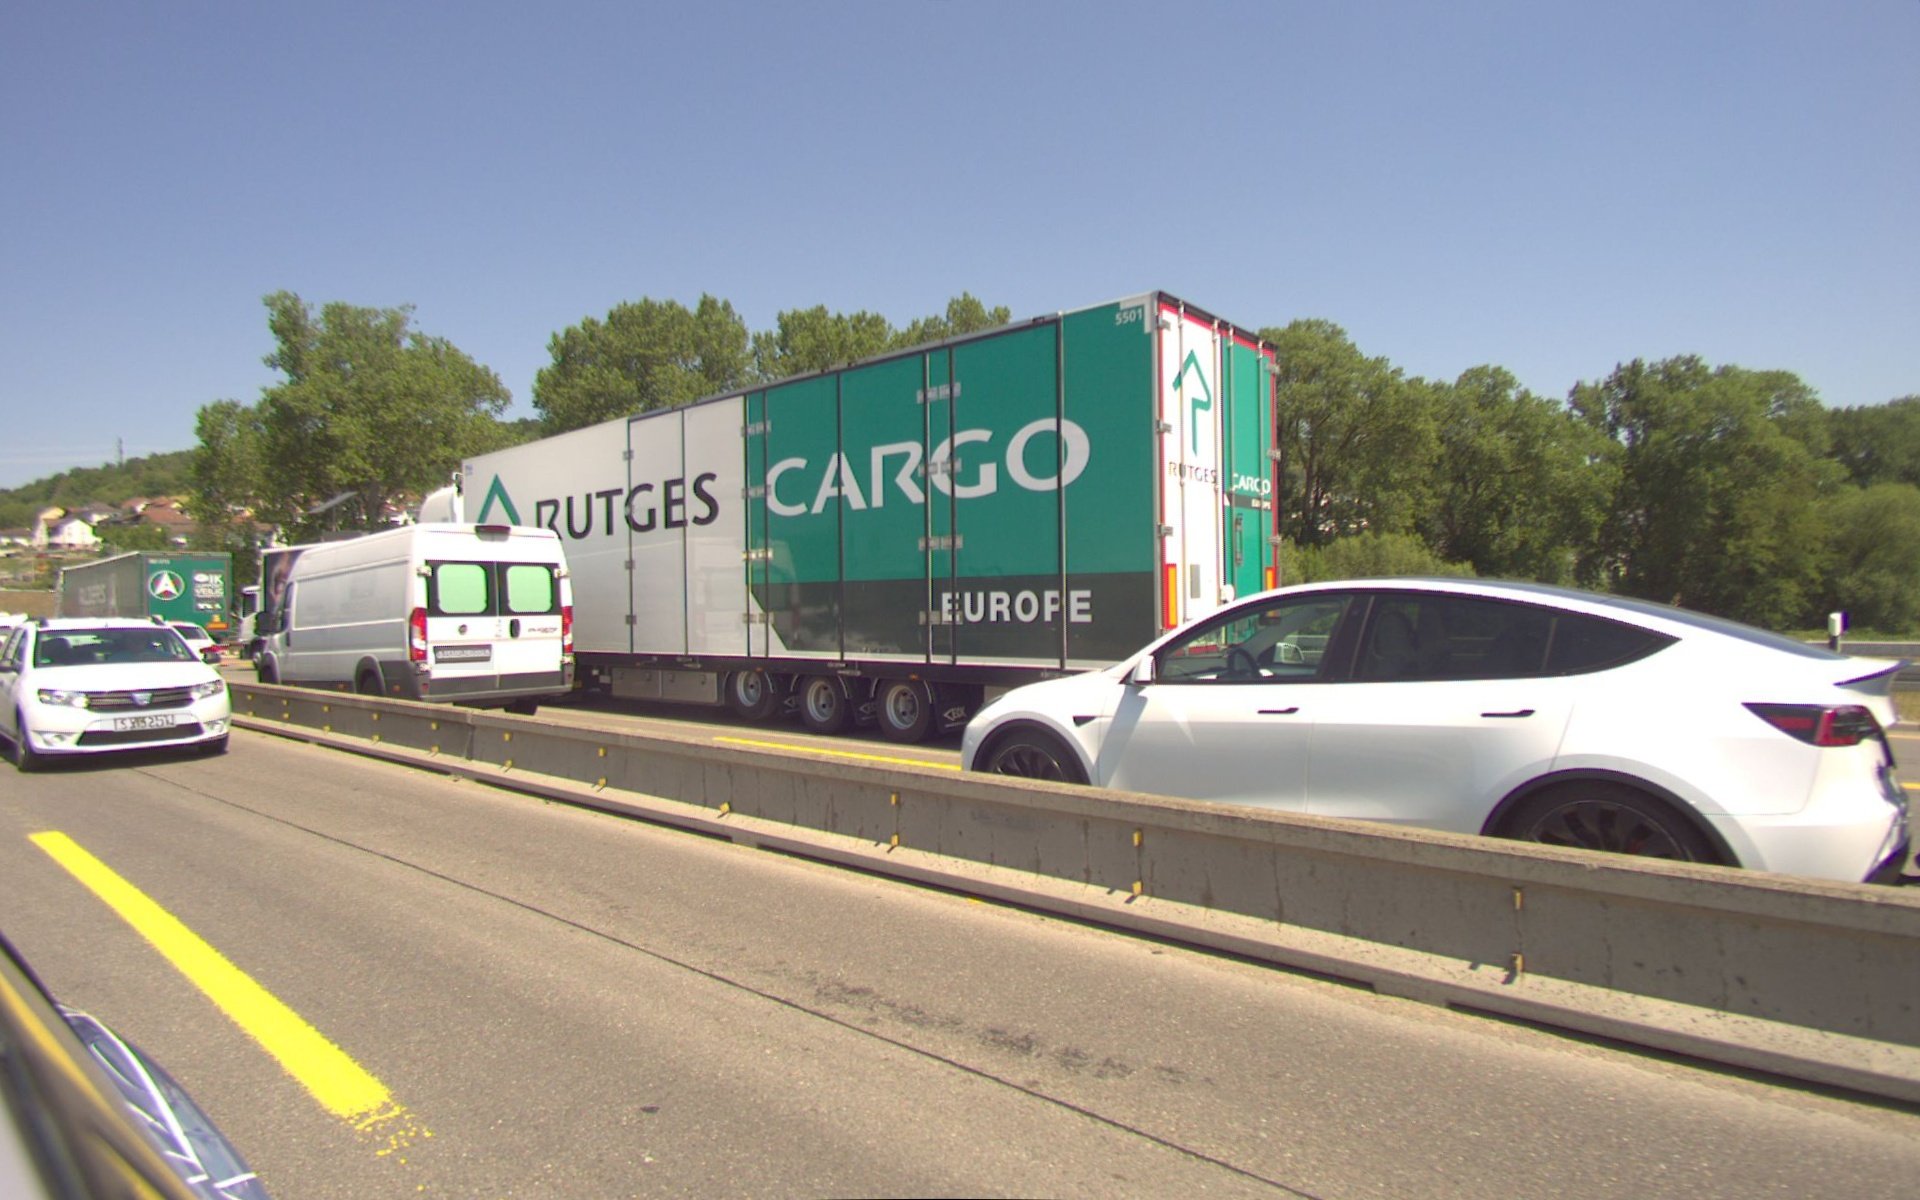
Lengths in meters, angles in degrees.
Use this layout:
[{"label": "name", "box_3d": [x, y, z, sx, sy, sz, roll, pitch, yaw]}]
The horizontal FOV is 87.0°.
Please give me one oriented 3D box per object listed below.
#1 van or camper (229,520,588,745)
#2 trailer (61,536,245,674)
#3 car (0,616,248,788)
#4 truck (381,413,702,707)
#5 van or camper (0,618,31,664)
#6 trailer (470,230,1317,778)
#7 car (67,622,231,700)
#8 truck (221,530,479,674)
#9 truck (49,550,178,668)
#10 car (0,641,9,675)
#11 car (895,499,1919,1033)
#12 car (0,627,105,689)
[{"label": "van or camper", "box_3d": [-8.034, 0.453, 14.332, 6.527, 2.530, 2.196, -2, -1, 40]}, {"label": "trailer", "box_3d": [-30.965, 0.385, 38.482, 13.010, 4.499, 3.070, -3, -2, 41]}, {"label": "car", "box_3d": [-9.931, 1.024, 11.535, 4.702, 1.542, 1.801, -2, -1, 40]}, {"label": "truck", "box_3d": [-7.725, -0.516, 18.298, 6.220, 4.426, 2.778, -3, -1, 40]}, {"label": "van or camper", "box_3d": [-58.436, 2.515, 61.377, 5.240, 2.719, 2.478, -3, -1, 41]}, {"label": "trailer", "box_3d": [-2.254, -0.687, 13.601, 13.159, 4.464, 2.786, -1, -1, 41]}, {"label": "car", "box_3d": [-18.500, 1.350, 22.999, 4.971, 1.509, 1.973, -3, 0, 40]}, {"label": "truck", "box_3d": [-18.302, 0.188, 30.171, 8.334, 3.793, 2.884, -3, 0, 30]}, {"label": "truck", "box_3d": [-35.824, 0.437, 42.726, 7.098, 4.571, 3.046, -2, -1, 41]}, {"label": "car", "box_3d": [-44.055, 2.626, 45.152, 4.604, 1.470, 1.847, -3, 1, 41]}, {"label": "car", "box_3d": [2.573, 0.576, 5.301, 5.776, 1.739, 2.348, -3, 0, 40]}, {"label": "car", "box_3d": [-27.772, 1.754, 30.930, 4.151, 1.659, 1.739, -3, 1, 40]}]
